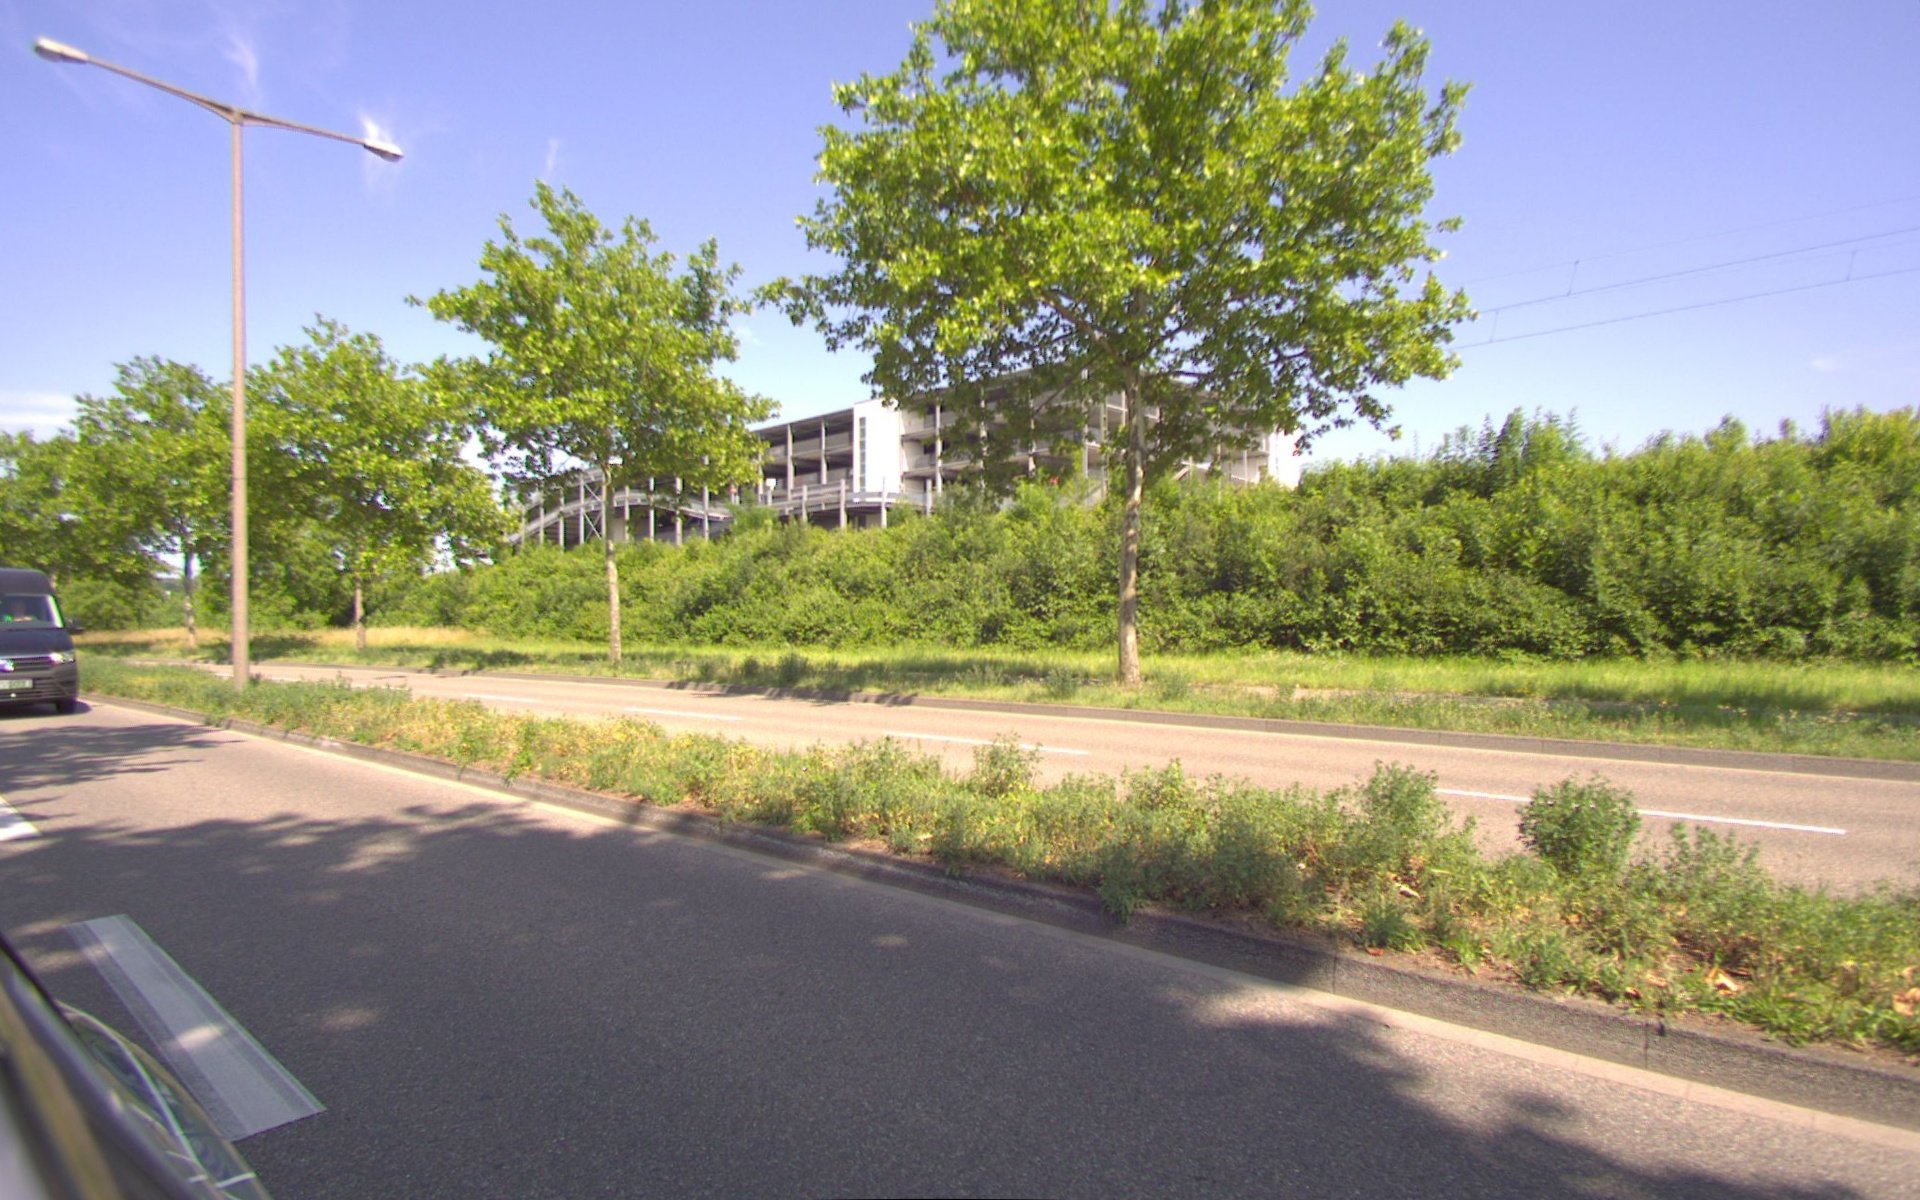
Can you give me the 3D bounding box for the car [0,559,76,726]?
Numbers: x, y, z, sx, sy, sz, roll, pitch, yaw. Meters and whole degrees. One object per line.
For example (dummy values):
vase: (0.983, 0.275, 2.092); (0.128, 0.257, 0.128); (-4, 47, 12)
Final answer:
car: (-17.502, 0.717, 17.880); (6.164, 2.627, 1.995); (-1, -1, 41)
